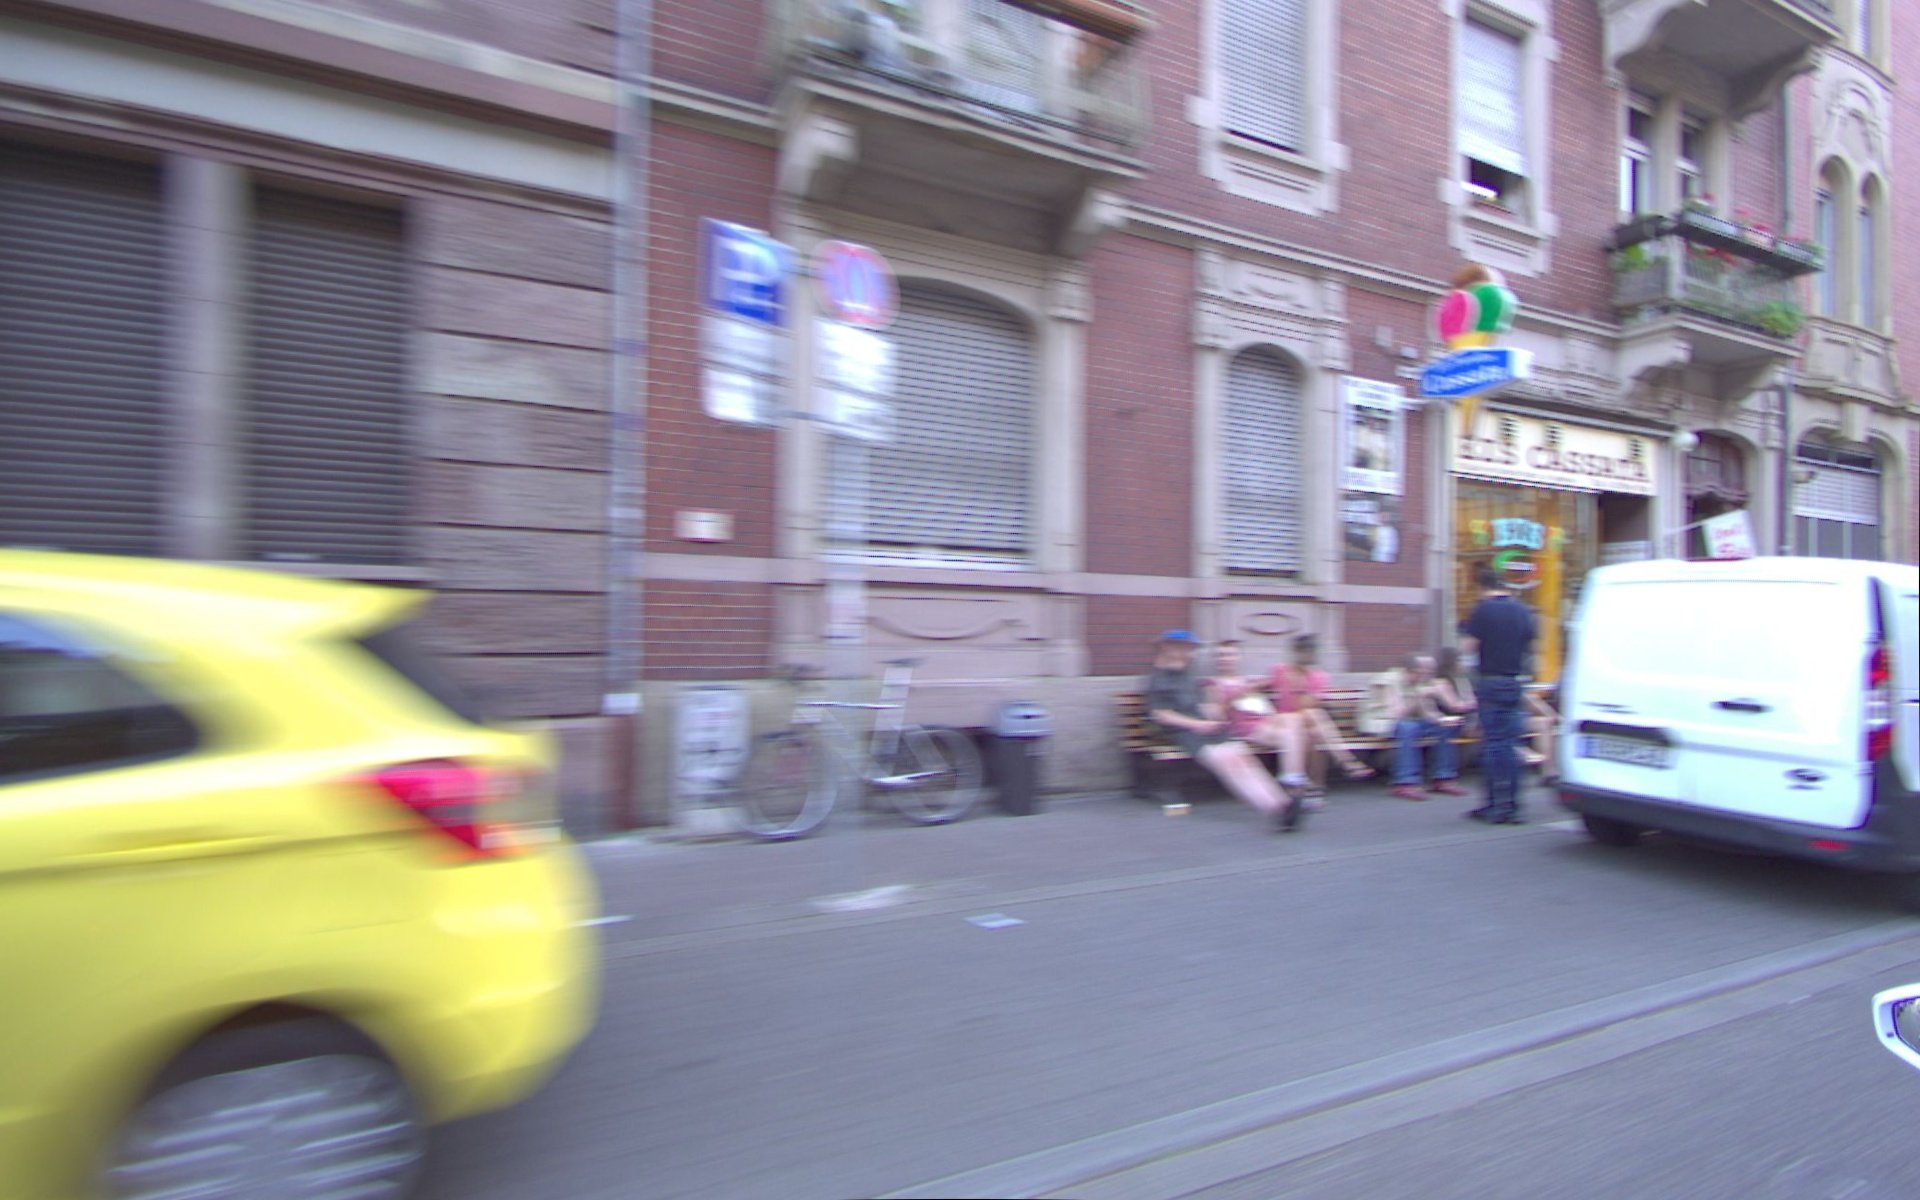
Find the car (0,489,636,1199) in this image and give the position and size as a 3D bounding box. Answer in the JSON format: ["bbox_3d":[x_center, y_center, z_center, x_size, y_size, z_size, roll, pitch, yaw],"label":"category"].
[{"bbox_3d":[-2.777,0.569,2.202,3.742,1.550,1.700,1,-1,-26],"label":"car"}]

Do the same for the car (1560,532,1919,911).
[{"bbox_3d":[6.194,0.648,6.657,4.532,1.812,1.763,2,-1,-29],"label":"car"}]

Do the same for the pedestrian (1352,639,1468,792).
[{"bbox_3d":[3.673,0.916,8.212,0.566,1.155,0.629,2,0,-29],"label":"pedestrian"}]

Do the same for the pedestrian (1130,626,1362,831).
[{"bbox_3d":[1.942,0.819,7.042,0.634,1.219,1.555,2,0,-28],"label":"pedestrian"}]

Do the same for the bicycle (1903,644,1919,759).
[{"bbox_3d":[10.789,1.074,10.534,1.970,1.170,0.465,2,0,-20],"label":"bicycle"}]

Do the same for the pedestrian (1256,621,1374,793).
[{"bbox_3d":[2.781,0.811,7.883,0.578,1.268,0.616,2,0,-29],"label":"pedestrian"}]

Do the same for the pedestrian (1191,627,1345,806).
[{"bbox_3d":[2.305,0.836,7.597,0.497,1.219,1.034,2,0,-28],"label":"pedestrian"}]

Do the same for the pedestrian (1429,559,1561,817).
[{"bbox_3d":[3.821,0.609,7.211,0.574,1.753,0.621,2,0,1],"label":"pedestrian"}]

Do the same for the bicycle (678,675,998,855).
[{"bbox_3d":[-0.702,0.967,6.234,1.971,0.958,0.355,2,0,-31],"label":"bicycle"}]
